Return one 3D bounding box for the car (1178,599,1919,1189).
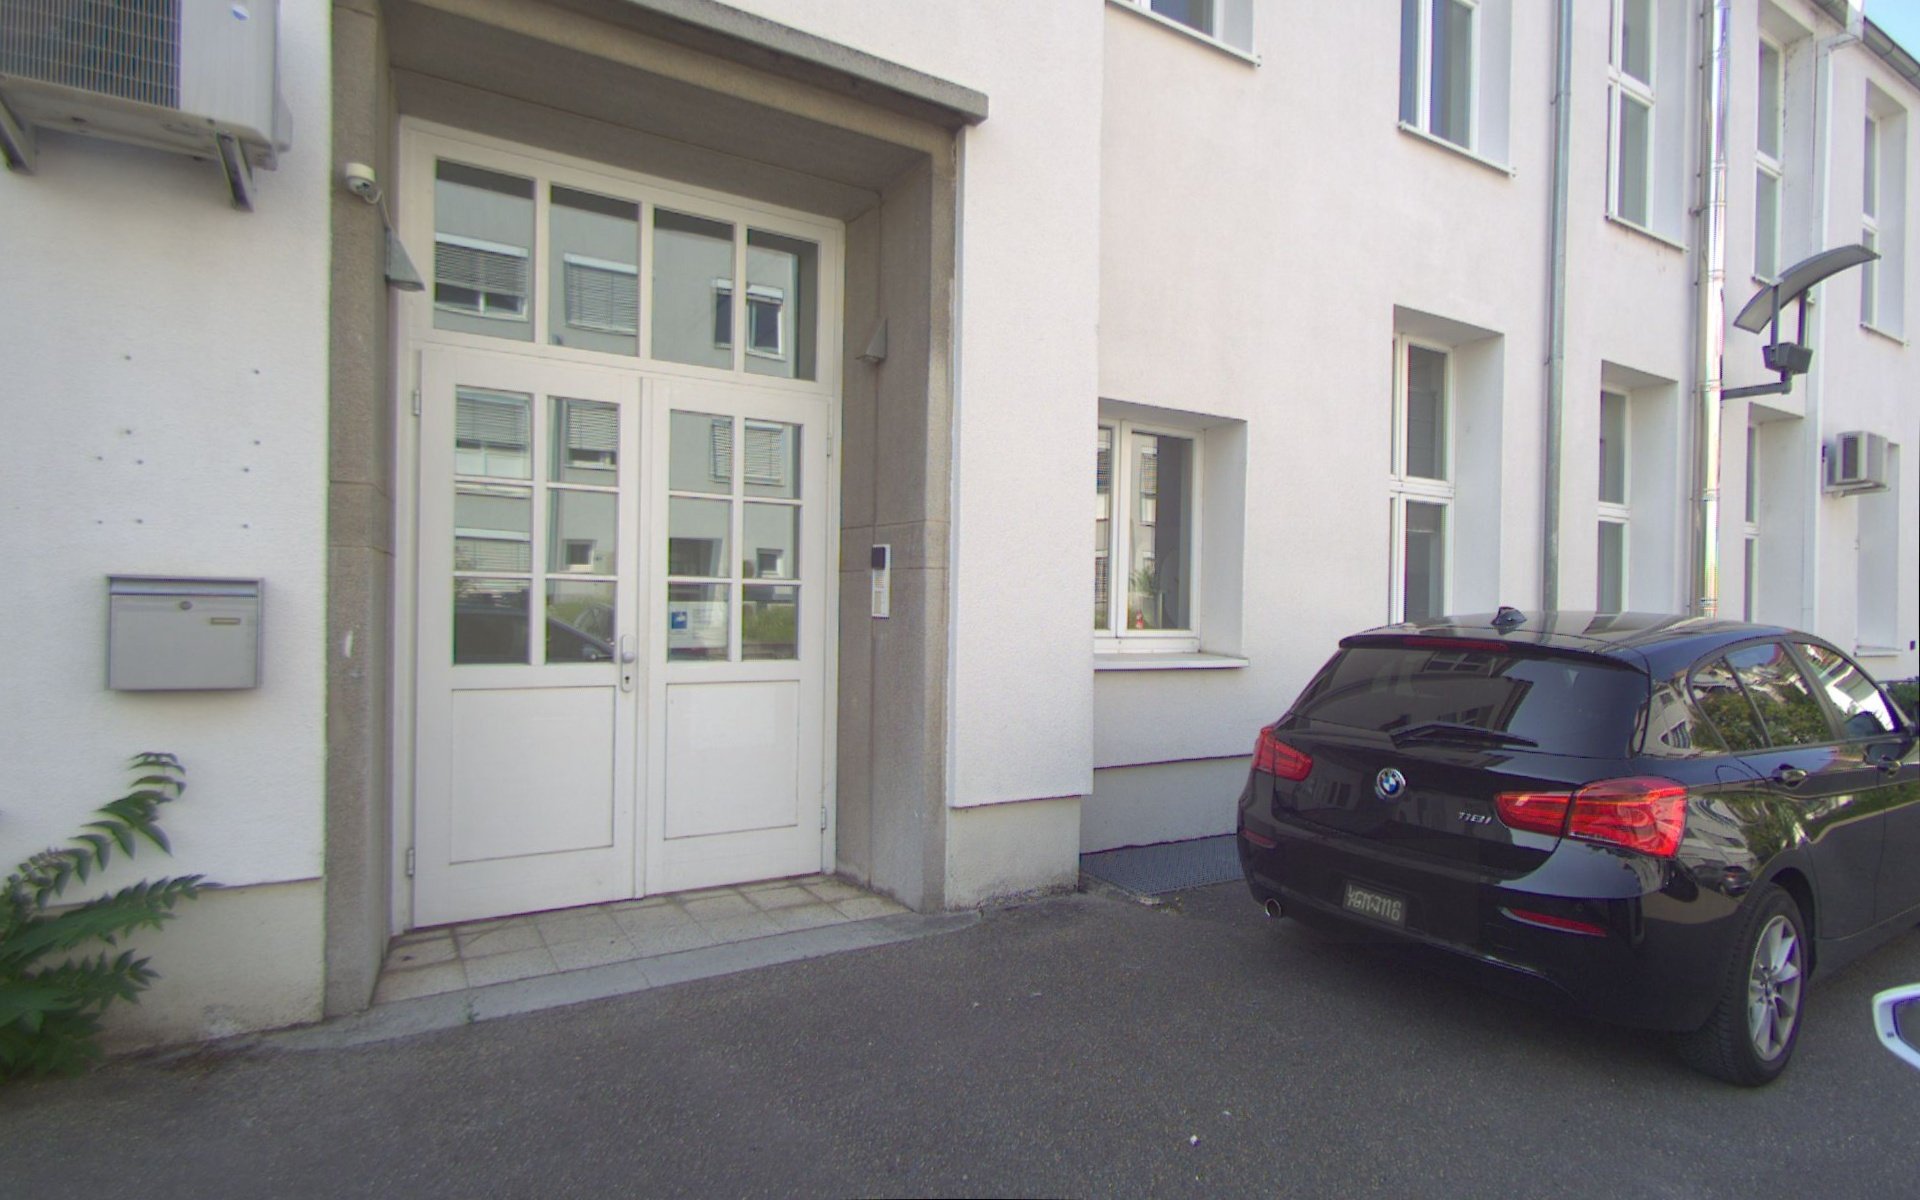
[{"bbox_3d":[2.945,0.792,4.313,3.881,1.478,1.678,2,0,-33],"label":"car"}]
